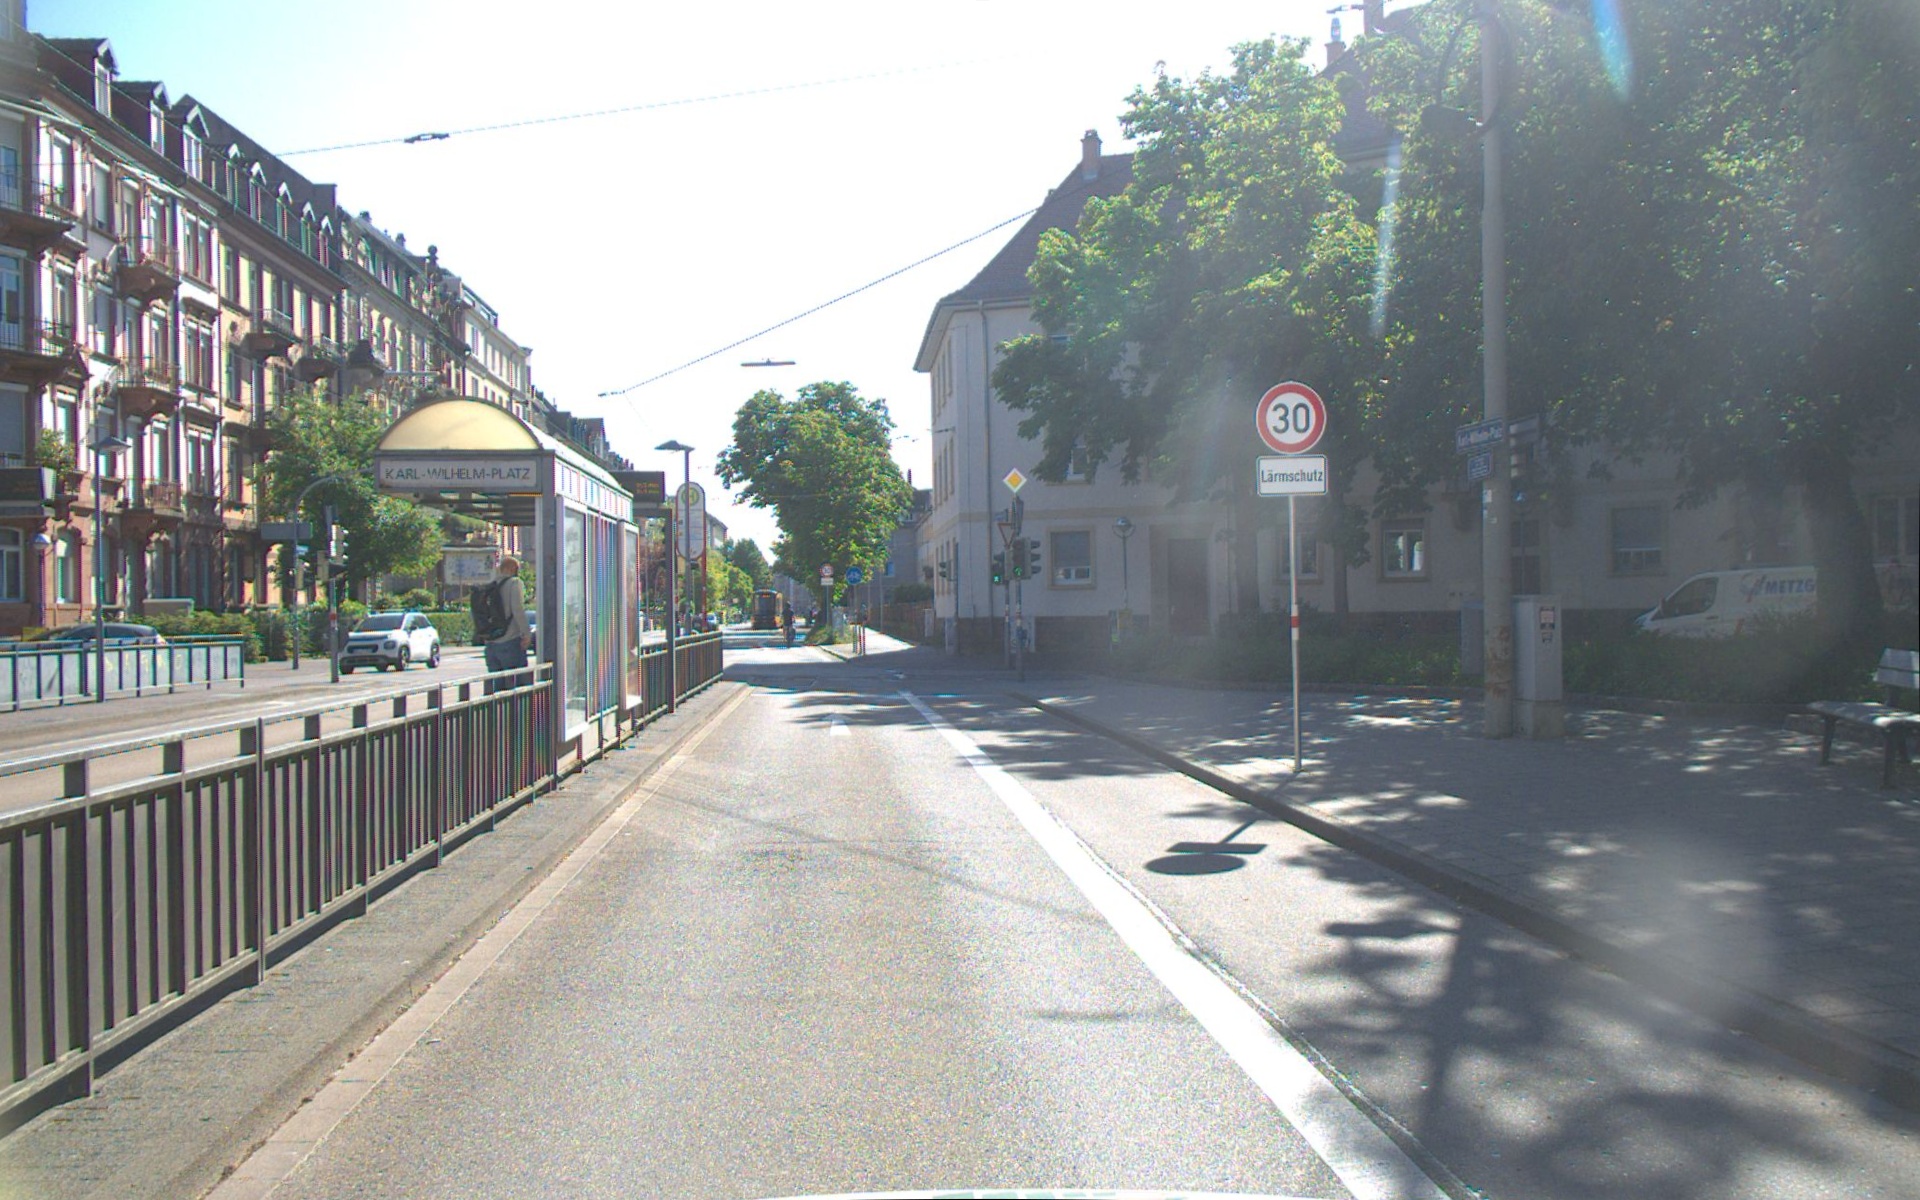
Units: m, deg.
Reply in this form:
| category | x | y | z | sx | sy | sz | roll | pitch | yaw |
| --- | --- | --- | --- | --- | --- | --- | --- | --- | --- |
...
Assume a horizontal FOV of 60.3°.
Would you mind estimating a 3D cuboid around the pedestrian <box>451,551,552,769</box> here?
| category | x | y | z | sx | sy | sz | roll | pitch | yaw |
| --- | --- | --- | --- | --- | --- | --- | --- | --- | --- |
| pedestrian | -4.401 | 0.572 | 15.924 | 0.780 | 2.049 | 0.740 | 0 | -2 | -4 |

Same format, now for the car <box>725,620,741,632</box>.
| category | x | y | z | sx | sy | sz | roll | pitch | yaw |
| --- | --- | --- | --- | --- | --- | --- | --- | --- | --- |
| car | -31.206 | 3.584 | 227.328 | 1.955 | 1.624 | 3.995 | 0 | -1 | -5 |

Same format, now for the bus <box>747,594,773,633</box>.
| category | x | y | z | sx | sy | sz | roll | pitch | yaw |
| --- | --- | --- | --- | --- | --- | --- | --- | --- | --- |
| bus | -18.887 | 1.280 | 156.273 | 2.340 | 3.558 | 7.372 | 0 | -1 | -7 |

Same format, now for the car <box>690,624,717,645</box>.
| category | x | y | z | sx | sy | sz | roll | pitch | yaw |
| --- | --- | --- | --- | --- | --- | --- | --- | --- | --- |
| car | -19.857 | 2.665 | 128.354 | 1.956 | 1.624 | 3.993 | 0 | -1 | -7 |

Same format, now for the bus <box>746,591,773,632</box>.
| category | x | y | z | sx | sy | sz | roll | pitch | yaw |
| --- | --- | --- | --- | --- | --- | --- | --- | --- | --- |
| bus | -18.038 | 1.124 | 148.938 | 2.340 | 3.558 | 7.372 | 0 | -1 | -7 |

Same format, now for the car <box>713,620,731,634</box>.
| category | x | y | z | sx | sy | sz | roll | pitch | yaw |
| --- | --- | --- | --- | --- | --- | --- | --- | --- | --- |
| car | -29.456 | 3.343 | 204.469 | 1.955 | 1.624 | 3.995 | 0 | -1 | -5 |

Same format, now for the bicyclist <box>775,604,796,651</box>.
| category | x | y | z | sx | sy | sz | roll | pitch | yaw |
| --- | --- | --- | --- | --- | --- | --- | --- | --- | --- |
| bicyclist | -6.938 | 1.104 | 65.886 | 0.802 | 1.843 | 1.058 | 0 | -2 | -5 |

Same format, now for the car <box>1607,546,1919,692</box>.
| category | x | y | z | sx | sy | sz | roll | pitch | yaw |
| --- | --- | --- | --- | --- | --- | --- | --- | --- | --- |
| car | 13.758 | 0.356 | 28.093 | 2.098 | 2.247 | 4.888 | 1 | -2 | -33 |

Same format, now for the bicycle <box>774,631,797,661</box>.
| category | x | y | z | sx | sy | sz | roll | pitch | yaw |
| --- | --- | --- | --- | --- | --- | --- | --- | --- | --- |
| bicycle | -6.942 | 1.813 | 65.885 | 0.825 | 1.176 | 2.536 | 0 | -1 | -4 |

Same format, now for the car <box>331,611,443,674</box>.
| category | x | y | z | sx | sy | sz | roll | pitch | yaw |
| --- | --- | --- | --- | --- | --- | --- | --- | --- | --- |
| car | -15.684 | 1.169 | 45.478 | 1.740 | 1.646 | 3.999 | 0 | -1 | -1 |

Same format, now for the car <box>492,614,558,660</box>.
| category | x | y | z | sx | sy | sz | roll | pitch | yaw |
| --- | --- | --- | --- | --- | --- | --- | --- | --- | --- |
| car | -16.139 | 1.391 | 61.537 | 1.742 | 1.646 | 3.994 | 0 | -1 | -6 |
